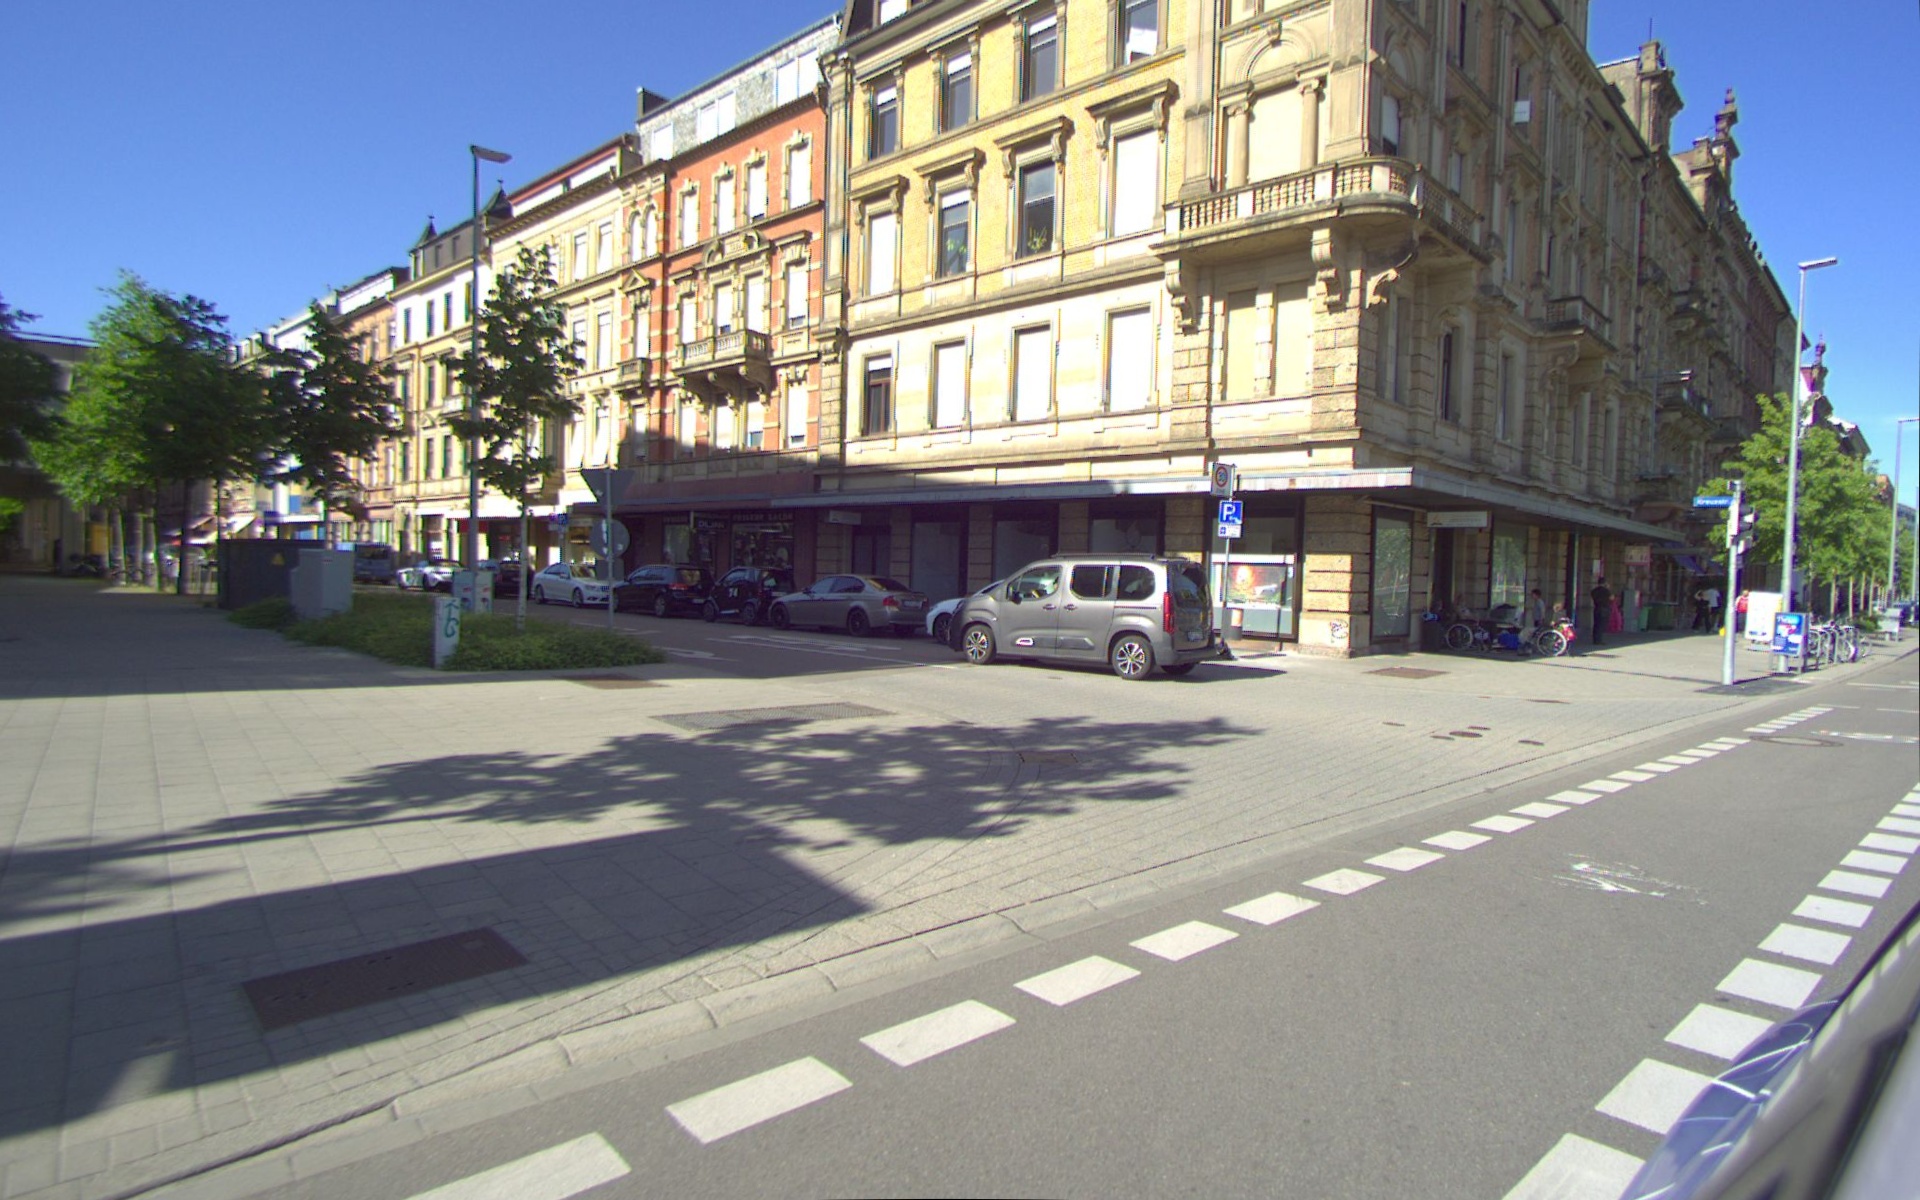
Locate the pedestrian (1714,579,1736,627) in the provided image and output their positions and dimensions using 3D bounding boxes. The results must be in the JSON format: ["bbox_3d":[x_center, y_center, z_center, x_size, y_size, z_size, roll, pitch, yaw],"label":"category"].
[{"bbox_3d":[29.844,0.116,39.497,0.491,1.873,0.512,1,1,-35],"label":"pedestrian"}]

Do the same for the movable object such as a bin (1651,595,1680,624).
[{"bbox_3d":[25.985,0.344,37.254,0.576,1.025,0.693,0,4,-38],"label":"movable object such as a bin"}]

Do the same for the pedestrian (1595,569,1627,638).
[{"bbox_3d":[17.310,0.088,26.907,0.491,1.824,0.512,1,1,-35],"label":"pedestrian"}]

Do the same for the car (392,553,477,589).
[{"bbox_3d":[-21.288,-1.180,40.953,3.805,1.371,1.688,3,2,39],"label":"car"}]

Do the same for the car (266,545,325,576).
[{"bbox_3d":[-35.086,-2.098,53.416,3.805,1.574,1.515,3,2,39],"label":"car"}]

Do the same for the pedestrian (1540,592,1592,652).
[{"bbox_3d":[13.280,0.465,22.183,0.635,1.232,0.719,0,4,-37],"label":"pedestrian"}]

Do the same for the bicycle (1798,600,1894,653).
[{"bbox_3d":[24.521,0.718,28.025,0.680,1.266,1.867,0,5,-44],"label":"bicycle"}]

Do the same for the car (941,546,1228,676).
[{"bbox_3d":[1.884,0.081,15.977,4.145,1.774,1.793,3,2,38],"label":"car"}]

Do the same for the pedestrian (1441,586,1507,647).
[{"bbox_3d":[11.338,0.351,22.343,0.691,1.232,1.074,0,4,-43],"label":"pedestrian"}]

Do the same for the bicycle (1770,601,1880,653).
[{"bbox_3d":[22.262,0.675,26.082,0.593,1.133,2.052,0,4,-43],"label":"bicycle"}]

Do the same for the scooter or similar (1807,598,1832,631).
[{"bbox_3d":[32.486,0.548,38.245,0.283,1.187,0.639,1,1,-21],"label":"scooter or similar"}]

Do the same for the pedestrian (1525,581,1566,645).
[{"bbox_3d":[13.399,0.291,23.159,0.637,1.411,0.573,0,4,-44],"label":"pedestrian"}]

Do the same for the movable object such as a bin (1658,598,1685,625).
[{"bbox_3d":[26.459,0.421,37.651,0.576,0.986,0.692,0,1,-38],"label":"movable object such as a bin"}]

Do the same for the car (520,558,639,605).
[{"bbox_3d":[-12.360,-0.621,32.745,4.419,1.371,1.627,3,2,39],"label":"car"}]

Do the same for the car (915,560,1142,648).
[{"bbox_3d":[1.328,0.012,20.673,4.388,1.563,1.827,3,2,40],"label":"car"}]

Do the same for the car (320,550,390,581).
[{"bbox_3d":[-28.612,-1.627,47.831,3.805,1.371,1.688,3,2,39],"label":"car"}]

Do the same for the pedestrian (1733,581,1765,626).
[{"bbox_3d":[29.473,0.119,37.804,0.795,1.603,0.752,0,3,-43],"label":"pedestrian"}]

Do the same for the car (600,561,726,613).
[{"bbox_3d":[-8.560,-0.400,29.050,3.805,1.371,1.627,3,2,39],"label":"car"}]

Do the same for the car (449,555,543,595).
[{"bbox_3d":[-17.230,-0.930,37.519,3.805,1.371,1.688,3,2,39],"label":"car"}]

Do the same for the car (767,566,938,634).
[{"bbox_3d":[-2.612,-0.035,23.986,4.172,1.412,1.536,3,1,39],"label":"car"}]

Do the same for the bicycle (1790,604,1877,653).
[{"bbox_3d":[23.251,0.741,26.972,1.661,1.123,0.594,6,4,39],"label":"bicycle"}]

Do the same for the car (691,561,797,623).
[{"bbox_3d":[-5.743,-0.238,26.806,2.778,1.513,1.287,3,2,39],"label":"car"}]

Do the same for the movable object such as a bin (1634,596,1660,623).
[{"bbox_3d":[24.189,0.332,35.623,0.467,0.876,0.606,0,4,-38],"label":"movable object such as a bin"}]
